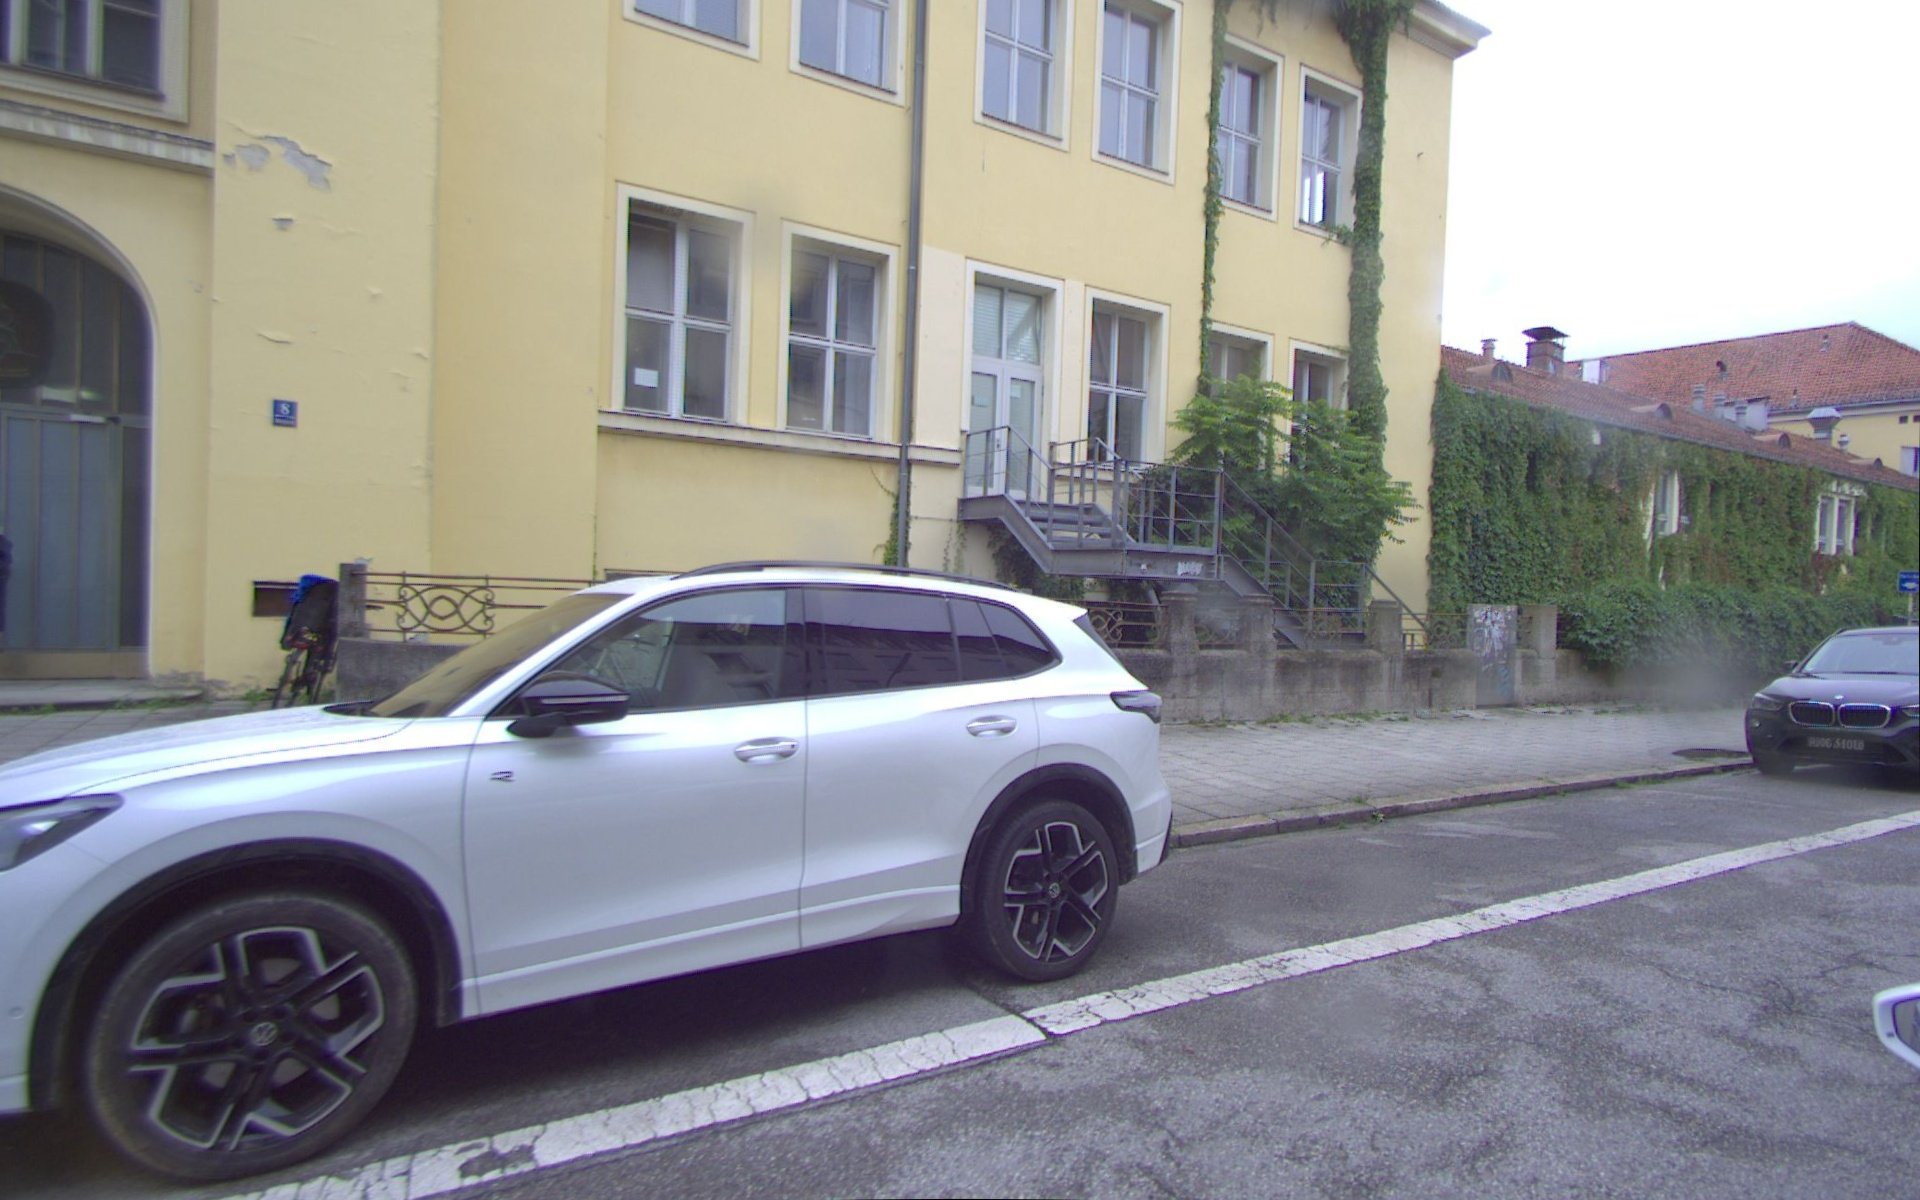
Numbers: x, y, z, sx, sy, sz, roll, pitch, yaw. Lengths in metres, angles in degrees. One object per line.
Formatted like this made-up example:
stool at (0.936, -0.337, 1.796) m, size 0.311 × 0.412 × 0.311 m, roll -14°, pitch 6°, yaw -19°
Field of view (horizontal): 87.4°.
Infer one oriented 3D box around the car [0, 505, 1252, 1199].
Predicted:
car at (-1.135, 0.662, 4.047) m, size 4.805 × 1.655 × 1.735 m, roll 2°, pitch -1°, yaw -33°

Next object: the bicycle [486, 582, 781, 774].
bicycle at (-2.540, 0.582, 7.917) m, size 2.088 × 1.346 × 0.677 m, roll 2°, pitch 1°, yaw -30°

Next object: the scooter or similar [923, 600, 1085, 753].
scooter or similar at (0.441, 0.718, 9.805) m, size 1.483 × 1.387 × 0.557 m, roll 2°, pitch 0°, yaw -30°

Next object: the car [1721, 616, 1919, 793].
car at (10.399, 1.041, 10.993) m, size 4.766 × 1.607 × 1.779 m, roll 2°, pitch -2°, yaw -33°

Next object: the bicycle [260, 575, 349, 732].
bicycle at (-5.888, 0.434, 9.078) m, size 0.520 × 1.285 × 1.619 m, roll 1°, pitch 0°, yaw -29°

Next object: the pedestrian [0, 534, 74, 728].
pedestrian at (-9.070, 0.260, 9.360) m, size 0.891 × 1.742 × 1.053 m, roll 2°, pitch 1°, yaw -22°

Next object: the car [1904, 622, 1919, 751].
car at (14.521, 1.168, 13.452) m, size 4.417 × 1.651 × 1.715 m, roll 2°, pitch -2°, yaw -32°
